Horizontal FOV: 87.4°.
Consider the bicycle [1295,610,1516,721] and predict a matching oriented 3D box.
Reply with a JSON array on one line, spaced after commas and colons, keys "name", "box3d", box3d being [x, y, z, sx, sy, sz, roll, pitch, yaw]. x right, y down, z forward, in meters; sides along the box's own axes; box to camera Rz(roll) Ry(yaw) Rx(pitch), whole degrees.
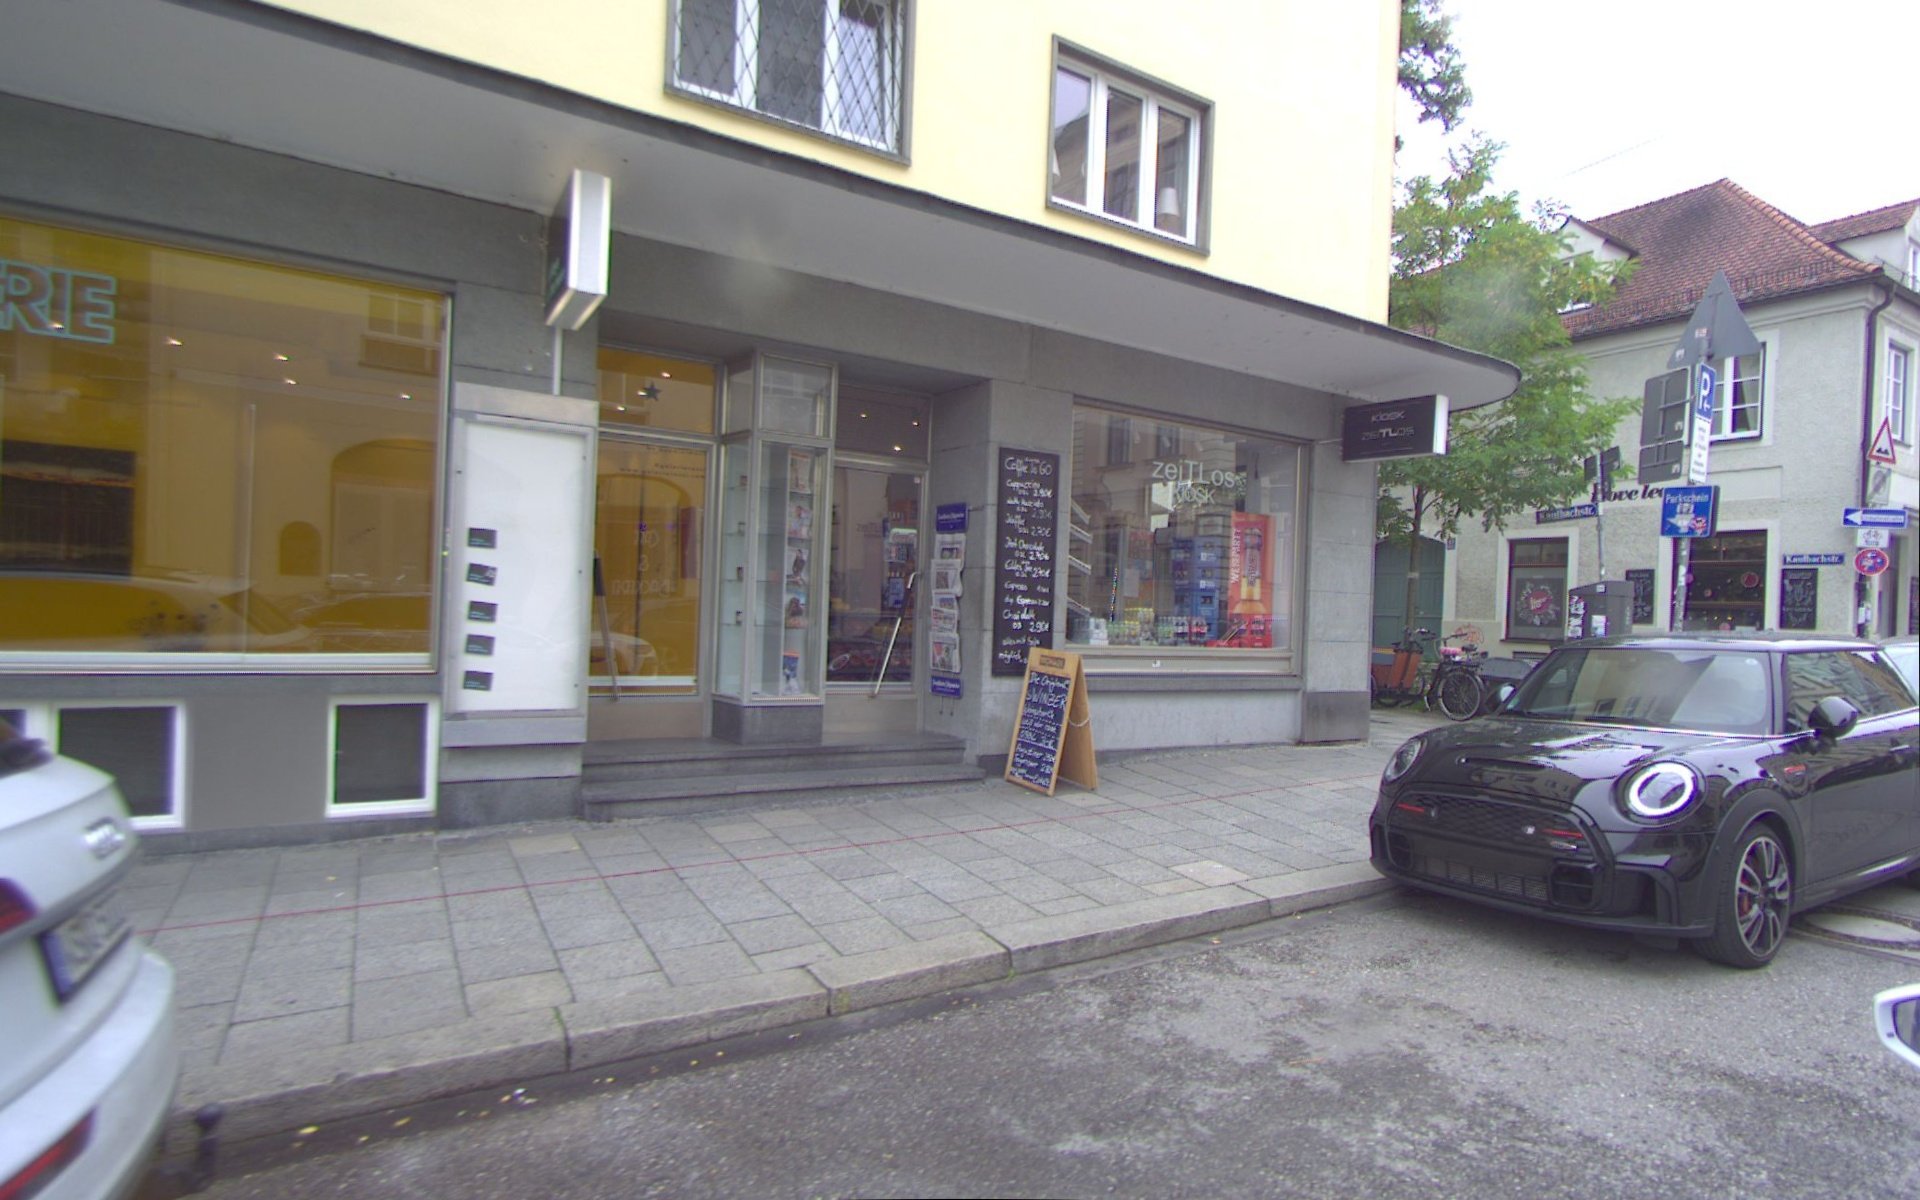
[{"name": "bicycle", "box3d": [5.977, 0.838, 13.753, 0.807, 1.227, 2.831, 3, 1, -27]}]

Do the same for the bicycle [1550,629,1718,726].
[{"name": "bicycle", "box3d": [8.726, 0.969, 13.098, 0.387, 1.049, 1.811, 1, 3, -27]}]

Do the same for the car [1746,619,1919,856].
[{"name": "car", "box3d": [8.077, 0.938, 7.792, 4.898, 1.491, 1.669, 2, -1, -34]}]

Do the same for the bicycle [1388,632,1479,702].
[{"name": "bicycle", "box3d": [7.134, 1.007, 15.108, 1.699, 0.978, 0.377, 3, 1, -34]}]

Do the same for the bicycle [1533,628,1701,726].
[{"name": "bicycle", "box3d": [8.375, 0.948, 12.907, 0.387, 1.049, 1.811, 1, 3, -27]}]

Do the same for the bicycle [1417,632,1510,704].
[{"name": "bicycle", "box3d": [7.398, 1.001, 14.729, 1.699, 0.978, 0.377, 3, 1, -34]}]

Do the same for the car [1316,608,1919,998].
[{"name": "car", "box3d": [4.052, 0.833, 5.604, 4.049, 1.491, 1.671, 2, -1, -30]}]

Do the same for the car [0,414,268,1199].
[{"name": "car", "box3d": [-3.328, 0.578, 0.929, 4.287, 1.605, 1.794, 0, 0, -31]}]
